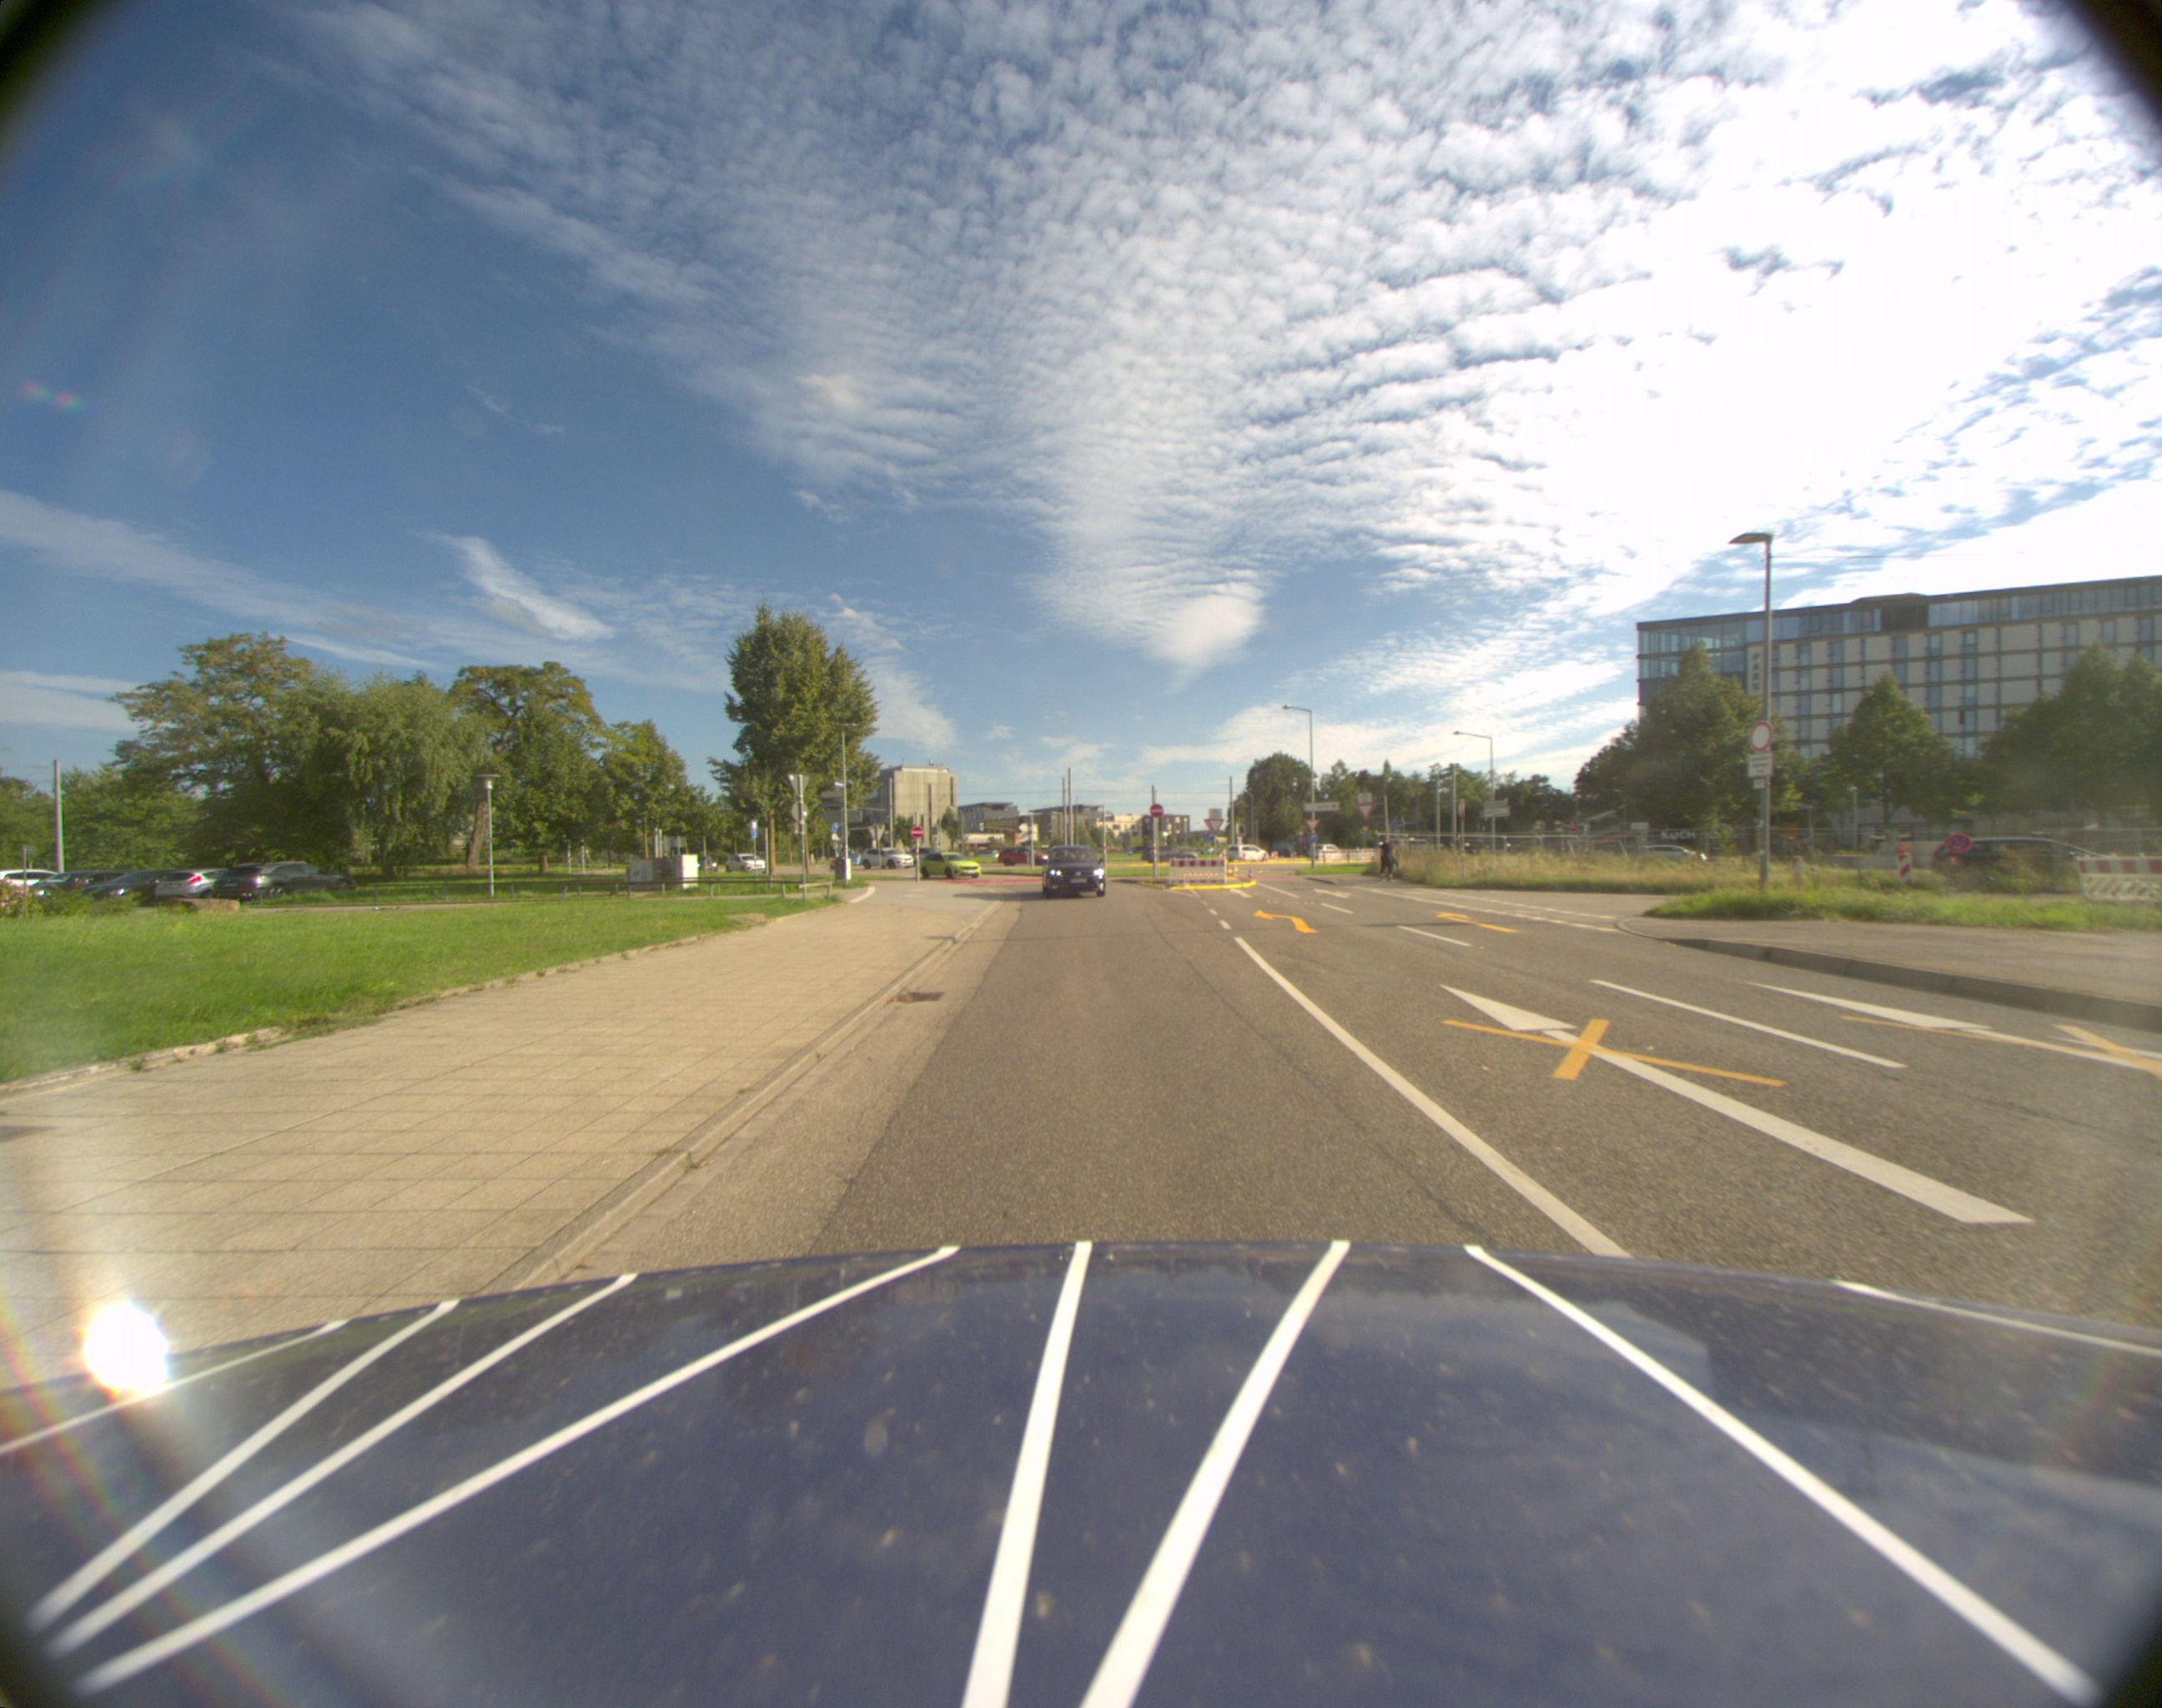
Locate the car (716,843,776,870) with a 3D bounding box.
[{"bbox_3d":[-25.045,0.195,56.726,5.389,1.856,1.843,-1,2,40],"label":"car"}]

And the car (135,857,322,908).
[{"bbox_3d":[-35.749,1.116,32.122,2.271,1.789,4.791,-2,1,3],"label":"car"}]

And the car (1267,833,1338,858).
[{"bbox_3d":[19.833,-0.763,68.000,5.813,2.047,2.472,-3,2,-26],"label":"car"}]

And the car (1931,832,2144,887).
[{"bbox_3d":[32.343,0.165,25.887,2.003,1.649,4.401,-3,2,-38],"label":"car"}]

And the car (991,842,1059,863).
[{"bbox_3d":[-4.442,-0.136,60.362,4.860,1.515,2.308,-2,1,13],"label":"car"}]

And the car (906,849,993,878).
[{"bbox_3d":[-7.498,0.516,42.849,2.046,1.461,5.972,-3,2,-40],"label":"car"}]

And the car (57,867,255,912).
[{"bbox_3d":[-38.335,1.425,31.742,2.085,1.491,4.911,-2,1,3],"label":"car"}]

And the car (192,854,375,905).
[{"bbox_3d":[-33.020,1.002,31.737,2.271,1.789,4.910,-2,1,1],"label":"car"}]

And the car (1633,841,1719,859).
[{"bbox_3d":[45.460,-0.303,58.169,4.802,1.344,2.002,-1,1,16],"label":"car"}]

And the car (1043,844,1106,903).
[{"bbox_3d":[-0.245,0.545,24.628,1.821,1.649,4.241,-2,1,-2],"label":"car"}]

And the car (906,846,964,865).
[{"bbox_3d":[-12.019,0.114,62.414,4.253,1.477,2.003,-1,1,23],"label":"car"}]

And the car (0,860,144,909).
[{"bbox_3d":[-43.513,1.262,31.798,2.358,1.789,4.911,-2,1,3],"label":"car"}]

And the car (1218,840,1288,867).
[{"bbox_3d":[14.643,-0.044,64.536,5.510,2.047,2.472,-3,2,-29],"label":"car"}]

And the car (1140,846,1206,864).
[{"bbox_3d":[7.369,0.076,61.041,4.814,1.344,1.997,-1,1,-14],"label":"car"}]

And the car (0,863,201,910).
[{"bbox_3d":[-40.716,1.281,31.606,2.271,1.587,4.911,-2,1,3],"label":"car"}]

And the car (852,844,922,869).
[{"bbox_3d":[-15.504,0.186,60.362,2.482,1.856,6.234,-3,2,-45],"label":"car"}]

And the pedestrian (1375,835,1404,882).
[{"bbox_3d":[12.146,0.167,29.912,0.710,1.814,0.743,-3,1,-22],"label":"pedestrian"}]
